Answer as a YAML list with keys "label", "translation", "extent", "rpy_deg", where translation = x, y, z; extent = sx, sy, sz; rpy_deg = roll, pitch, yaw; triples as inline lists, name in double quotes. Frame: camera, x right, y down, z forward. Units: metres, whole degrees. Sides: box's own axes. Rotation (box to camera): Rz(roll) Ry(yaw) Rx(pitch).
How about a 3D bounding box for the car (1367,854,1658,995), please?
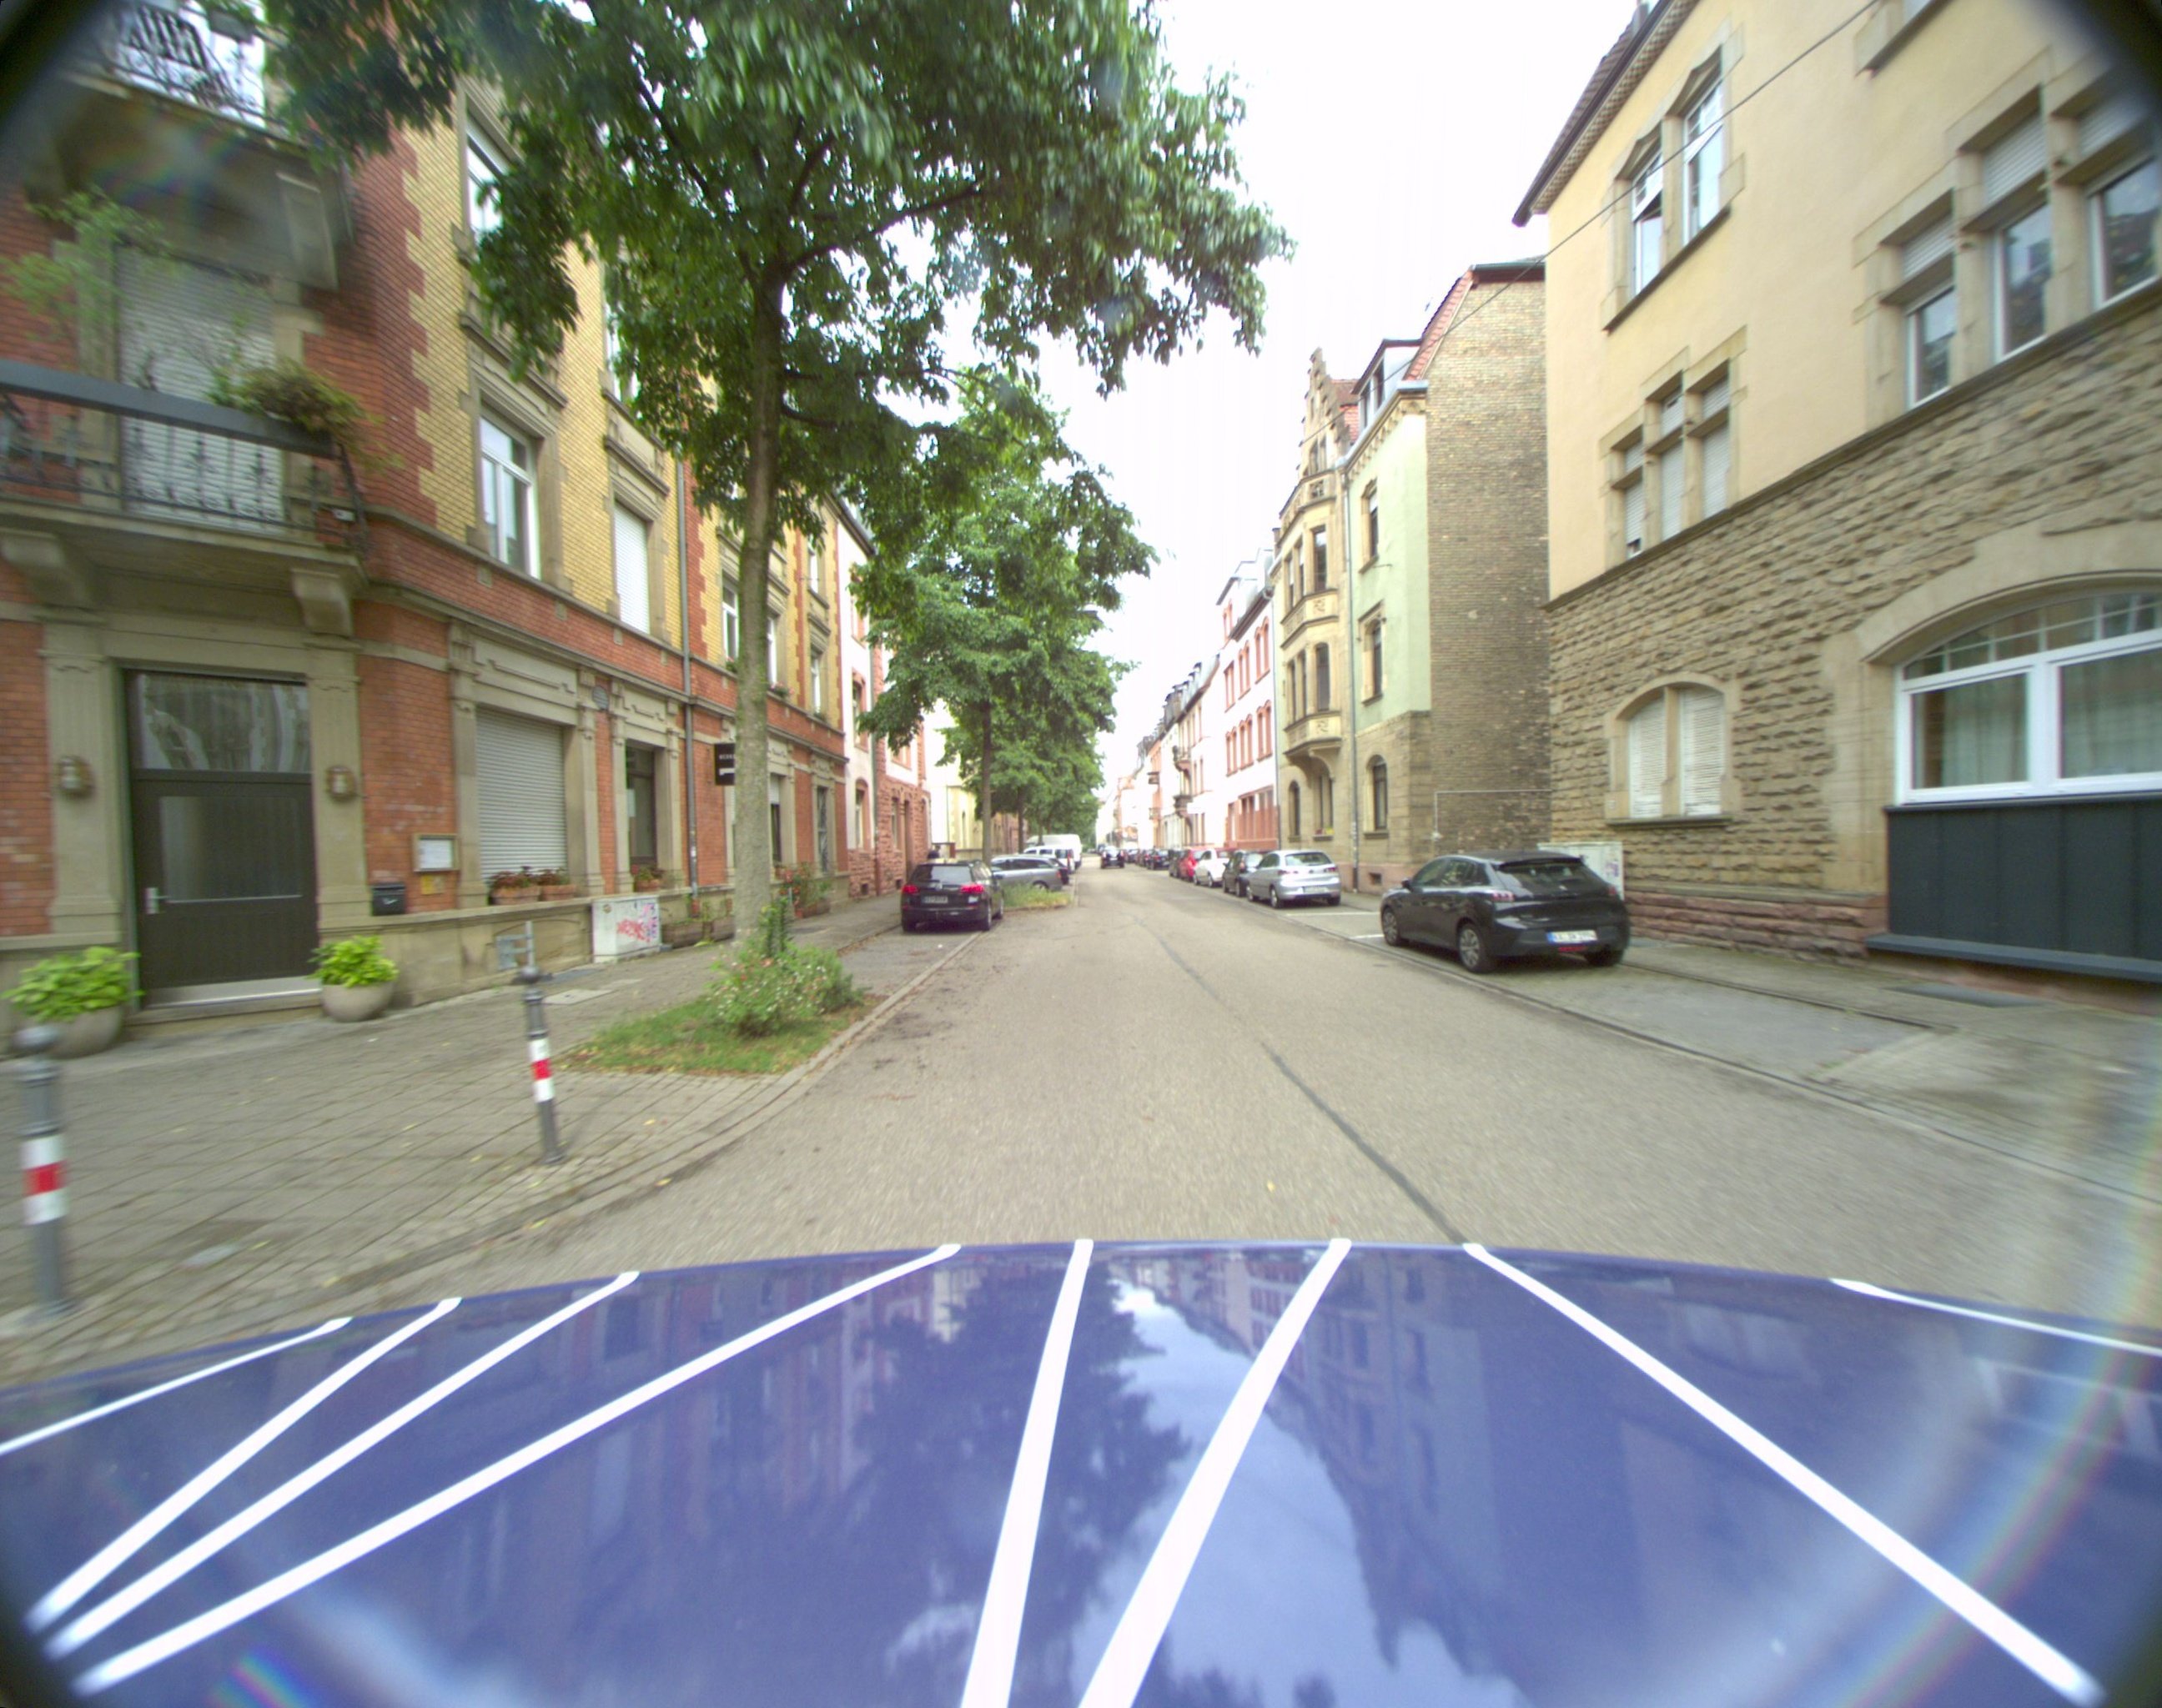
- label: "car"
  translation: [5.431, 0.774, 10.215]
  extent: [1.731, 1.426, 3.882]
  rpy_deg: [-3, 0, 2]

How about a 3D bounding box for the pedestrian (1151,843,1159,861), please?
- label: "pedestrian"
  translation: [6.776, -0.164, 69.667]
  extent: [0.577, 1.600, 0.544]
  rpy_deg: [-2, 1, 0]

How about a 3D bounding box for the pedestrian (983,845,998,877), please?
- label: "pedestrian"
  translation: [-5.261, 0.419, 44.140]
  extent: [0.703, 1.801, 0.817]
  rpy_deg: [-2, 1, 1]

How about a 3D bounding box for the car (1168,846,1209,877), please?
- label: "car"
  translation: [5.385, 0.361, 38.440]
  extent: [1.469, 1.408, 3.918]
  rpy_deg: [-3, 0, 0]

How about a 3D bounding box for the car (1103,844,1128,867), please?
- label: "car"
  translation: [2.723, 0.088, 60.386]
  extent: [1.814, 1.621, 4.207]
  rpy_deg: [-2, 1, 1]

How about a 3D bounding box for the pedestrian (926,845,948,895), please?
- label: "pedestrian"
  translation: [-5.048, 0.560, 26.663]
  extent: [0.599, 1.723, 0.663]
  rpy_deg: [-1, 1, -1]

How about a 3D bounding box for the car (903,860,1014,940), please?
- label: "car"
  translation: [-2.609, 0.928, 17.134]
  extent: [1.768, 1.477, 4.479]
  rpy_deg: [0, 1, 0]

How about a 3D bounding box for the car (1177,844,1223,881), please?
- label: "car"
  translation: [5.336, 0.358, 34.344]
  extent: [1.469, 1.521, 3.568]
  rpy_deg: [-3, 0, 0]

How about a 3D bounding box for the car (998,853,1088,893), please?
- label: "car"
  translation: [-1.668, 0.799, 33.182]
  extent: [3.472, 1.554, 1.783]
  rpy_deg: [-2, 1, -22]

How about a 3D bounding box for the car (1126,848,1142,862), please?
- label: "car"
  translation: [5.529, 0.113, 79.412]
  extent: [1.457, 1.401, 3.811]
  rpy_deg: [-3, 0, 1]

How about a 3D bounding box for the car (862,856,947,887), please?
- label: "car"
  translation: [-9.076, 0.902, 39.330]
  extent: [3.997, 1.445, 1.609]
  rpy_deg: [-1, 1, 0]

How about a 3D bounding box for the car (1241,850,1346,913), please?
- label: "car"
  translation: [5.474, 0.655, 20.066]
  extent: [1.593, 1.426, 3.809]
  rpy_deg: [-3, 0, -1]

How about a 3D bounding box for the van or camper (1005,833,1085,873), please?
- label: "van or camper"
  translation: [-2.456, -0.133, 52.742]
  extent: [5.077, 2.576, 2.069]
  rpy_deg: [-2, 1, -30]

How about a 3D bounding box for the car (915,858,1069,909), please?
- label: "car"
  translation: [-2.715, 0.849, 23.693]
  extent: [4.453, 1.419, 1.754]
  rpy_deg: [0, 1, -34]

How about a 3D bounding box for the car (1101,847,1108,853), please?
- label: "car"
  translation: [5.487, -0.981, 176.604]
  extent: [1.457, 1.401, 3.811]
  rpy_deg: [-3, 0, 1]

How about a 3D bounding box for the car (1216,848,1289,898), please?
- label: "car"
  translation: [5.442, 0.572, 24.478]
  extent: [1.521, 1.426, 3.455]
  rpy_deg: [-3, 0, 0]

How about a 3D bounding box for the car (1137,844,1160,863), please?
- label: "car"
  translation: [5.730, -0.060, 65.017]
  extent: [1.610, 1.463, 3.342]
  rpy_deg: [-2, 1, 0]

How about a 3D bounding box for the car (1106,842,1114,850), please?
- label: "car"
  translation: [5.886, -1.587, 154.807]
  extent: [1.457, 1.401, 3.811]
  rpy_deg: [-3, 0, 1]

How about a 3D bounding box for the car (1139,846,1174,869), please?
- label: "car"
  translation: [5.008, 0.199, 50.597]
  extent: [1.904, 1.382, 3.999]
  rpy_deg: [-2, 1, 0]

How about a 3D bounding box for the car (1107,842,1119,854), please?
- label: "car"
  translation: [5.833, -1.159, 139.150]
  extent: [2.052, 2.071, 3.811]
  rpy_deg: [-3, 0, 1]

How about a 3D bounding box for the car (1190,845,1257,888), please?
- label: "car"
  translation: [5.484, 0.456, 29.597]
  extent: [1.671, 1.502, 3.552]
  rpy_deg: [-2, 1, -4]

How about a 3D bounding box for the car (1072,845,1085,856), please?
- label: "car"
  translation: [-0.406, -0.567, 124.281]
  extent: [1.998, 1.740, 4.000]
  rpy_deg: [-2, 1, 2]

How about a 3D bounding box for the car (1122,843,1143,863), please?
- label: "car"
  translation: [5.007, -0.102, 74.183]
  extent: [1.844, 1.849, 4.000]
  rpy_deg: [-1, 1, 2]

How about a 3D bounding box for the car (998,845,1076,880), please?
- label: "car"
  translation: [-2.407, 0.467, 42.108]
  extent: [3.993, 1.801, 1.721]
  rpy_deg: [-1, 1, 11]

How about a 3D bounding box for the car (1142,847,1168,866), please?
- label: "car"
  translation: [5.706, 0.178, 58.832]
  extent: [1.659, 1.375, 3.471]
  rpy_deg: [-3, 1, 0]
